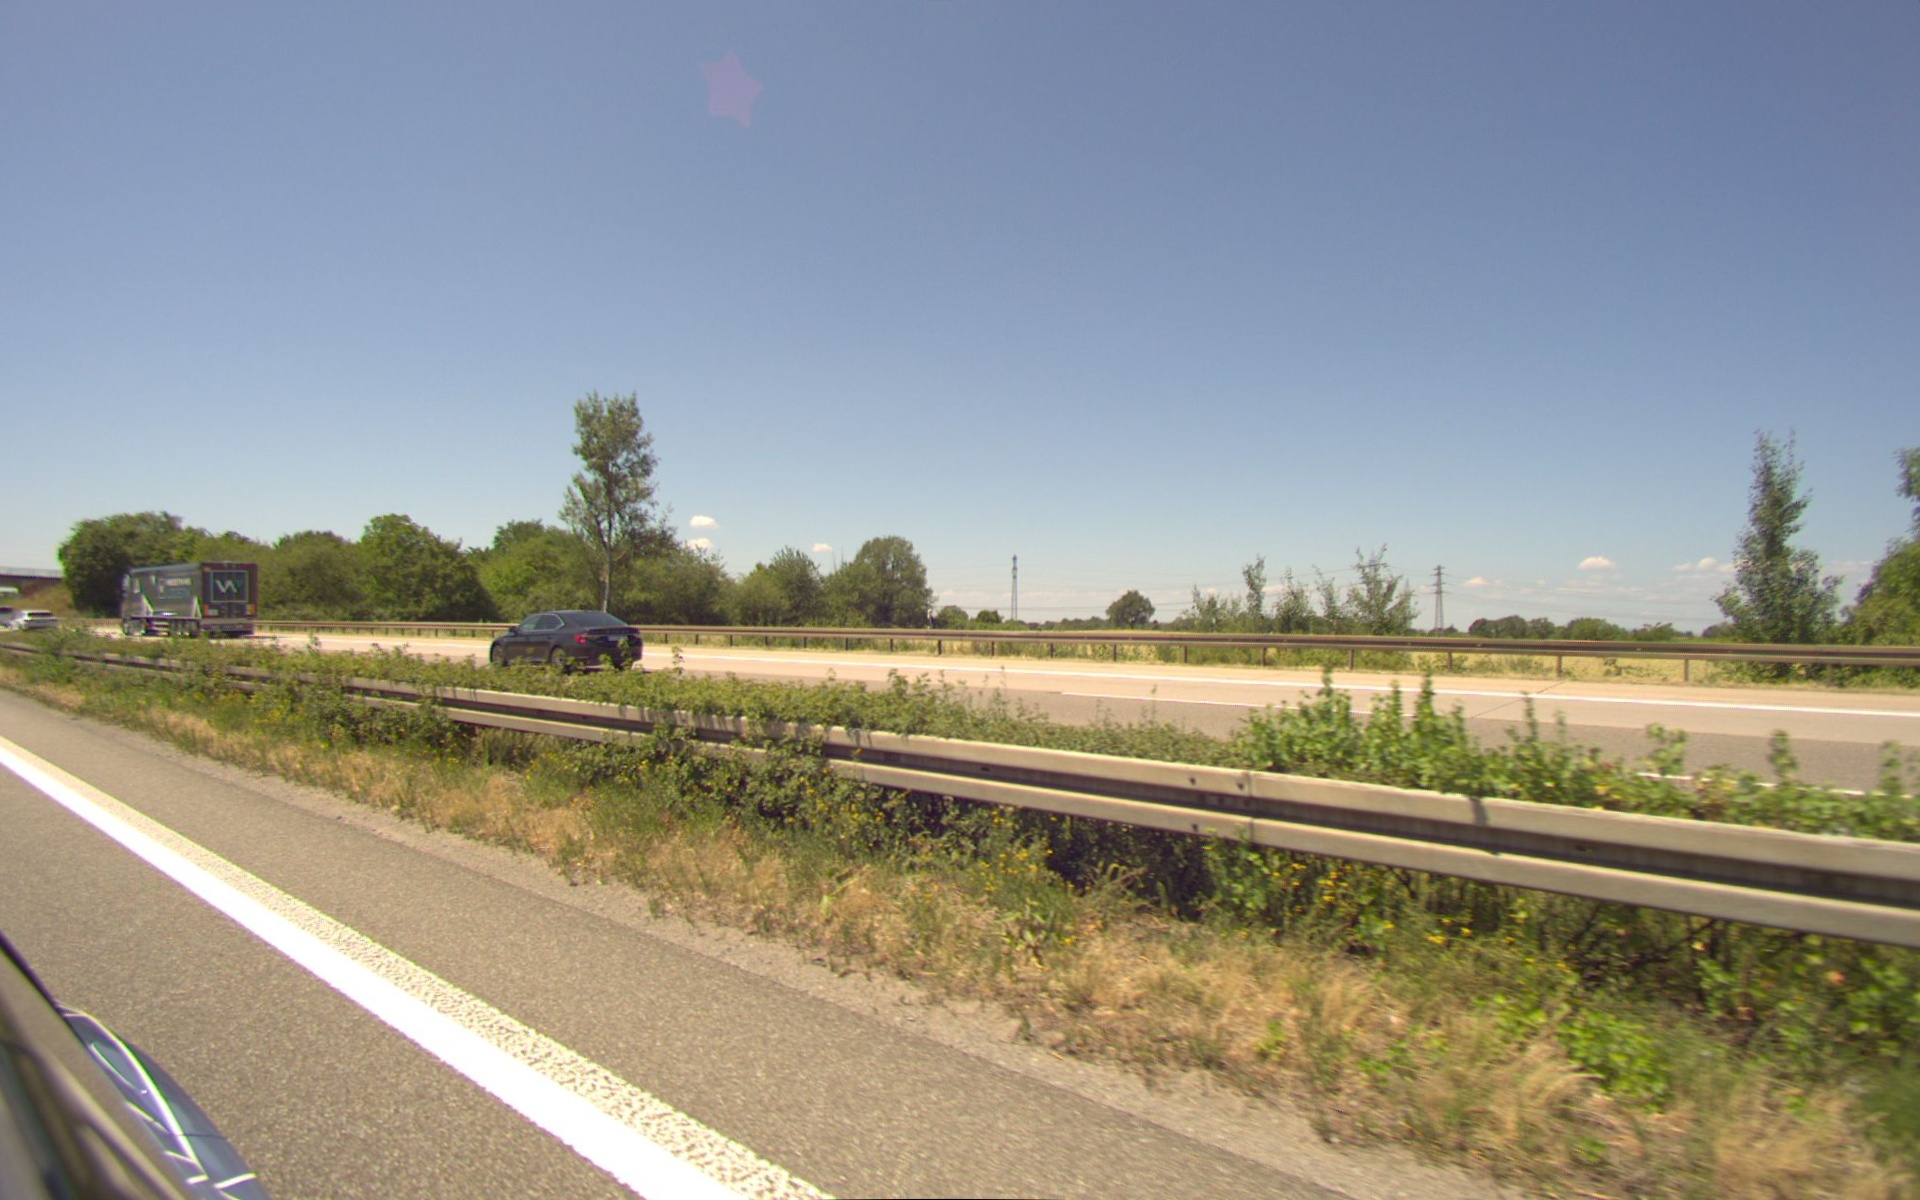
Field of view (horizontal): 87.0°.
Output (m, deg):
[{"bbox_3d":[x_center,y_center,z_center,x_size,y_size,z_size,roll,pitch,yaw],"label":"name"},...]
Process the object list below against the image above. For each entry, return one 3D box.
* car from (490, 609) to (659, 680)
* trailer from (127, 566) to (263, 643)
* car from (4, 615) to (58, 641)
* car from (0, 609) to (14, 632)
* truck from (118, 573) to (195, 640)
[{"bbox_3d":[-9.151,0.987,23.863,4.497,1.529,1.764,-1,-1,40],"label":"car"},{"bbox_3d":[-43.775,0.337,57.628,14.041,3.978,2.852,-1,-1,39],"label":"trailer"},{"bbox_3d":[-58.605,1.734,63.817,4.482,1.598,1.825,-1,-1,38],"label":"car"},{"bbox_3d":[-89.292,1.848,93.461,5.402,2.086,2.038,-1,-1,39],"label":"car"},{"bbox_3d":[-49.237,0.392,62.040,3.995,3.945,2.866,-1,-1,38],"label":"truck"}]
